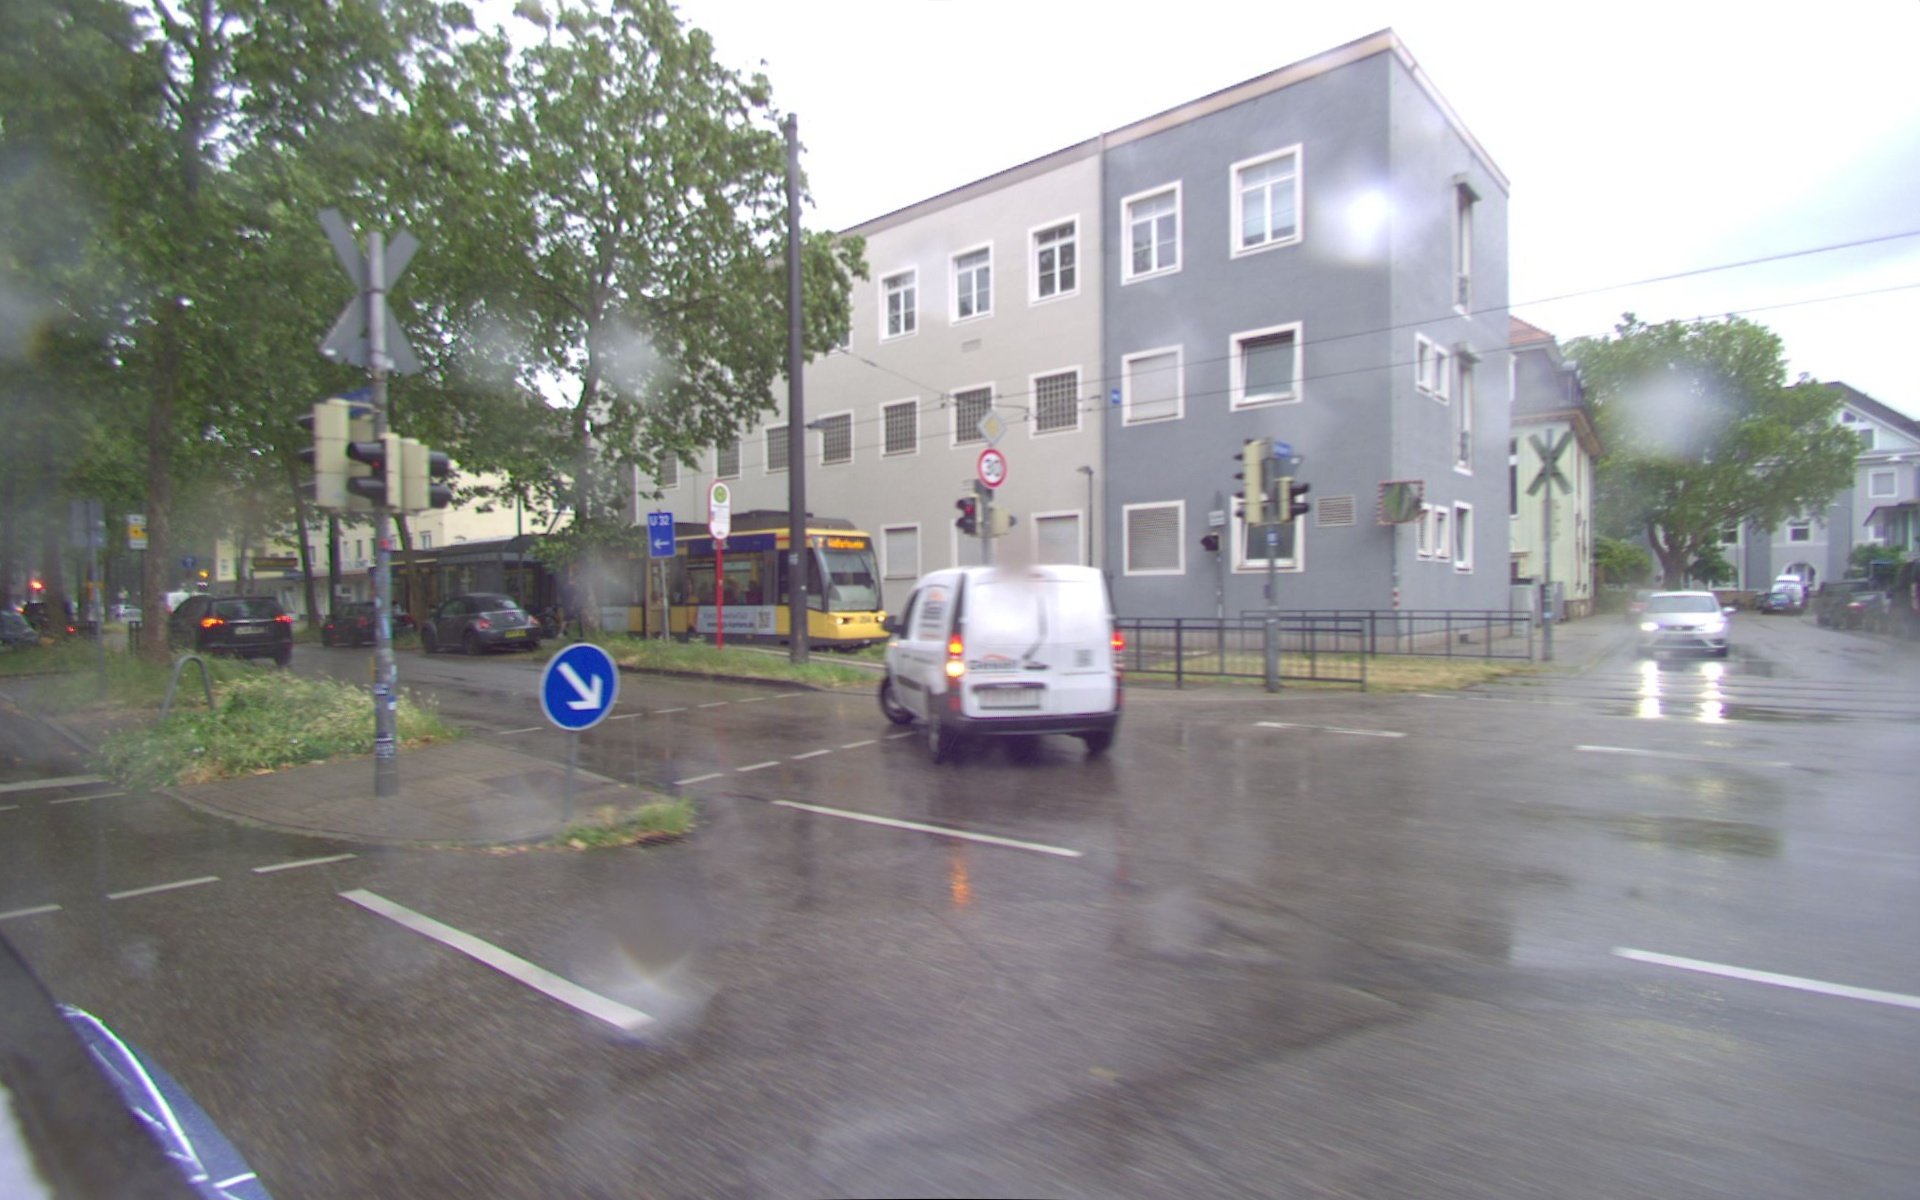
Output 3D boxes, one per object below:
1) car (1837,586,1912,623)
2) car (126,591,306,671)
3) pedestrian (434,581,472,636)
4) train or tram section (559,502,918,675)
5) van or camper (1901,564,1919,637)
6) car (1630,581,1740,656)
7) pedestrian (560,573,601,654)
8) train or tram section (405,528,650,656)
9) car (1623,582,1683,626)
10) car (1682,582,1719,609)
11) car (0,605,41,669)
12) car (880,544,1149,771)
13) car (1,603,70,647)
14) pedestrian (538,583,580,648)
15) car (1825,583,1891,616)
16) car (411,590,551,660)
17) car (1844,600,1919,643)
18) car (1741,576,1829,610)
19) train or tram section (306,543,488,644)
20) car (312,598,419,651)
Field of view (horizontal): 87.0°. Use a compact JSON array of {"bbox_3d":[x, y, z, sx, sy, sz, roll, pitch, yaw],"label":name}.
[{"bbox_3d":[34.673,0.144,38.473,1.999,1.321,3.945,-1,0,41],"label":"car"},{"bbox_3d":[-17.062,0.670,23.136,4.665,1.631,2.037,-1,0,37],"label":"car"},{"bbox_3d":[-16.931,0.287,33.809,0.946,1.797,0.819,-1,0,-11],"label":"pedestrian"},{"bbox_3d":[-6.267,-0.274,26.411,11.548,3.669,2.869,0,1,42],"label":"train or tram section"},{"bbox_3d":[28.768,-0.036,29.211,1.997,2.029,3.950,0,1,38],"label":"van or camper"},{"bbox_3d":[16.680,0.367,23.219,1.886,1.539,4.039,-1,0,38],"label":"car"},{"bbox_3d":[-8.905,0.303,23.722,0.635,1.869,0.654,-1,0,42],"label":"pedestrian"},{"bbox_3d":[-14.910,-0.267,34.109,11.548,3.669,2.869,0,1,42],"label":"train or tram section"},{"bbox_3d":[29.923,0.147,43.642,1.997,1.763,3.950,0,0,37],"label":"car"},{"bbox_3d":[43.772,-0.274,59.762,1.675,1.549,3.949,0,0,38],"label":"car"},{"bbox_3d":[-24.213,0.905,25.060,4.004,1.493,1.710,-1,0,41],"label":"car"},{"bbox_3d":[0.324,0.461,10.547,1.907,1.863,4.075,-1,0,-10],"label":"car"},{"bbox_3d":[-37.861,0.994,41.427,3.647,1.675,1.655,-1,0,41],"label":"car"},{"bbox_3d":[-11.382,0.436,28.738,0.946,1.797,0.819,-1,0,-11],"label":"pedestrian"},{"bbox_3d":[38.089,-0.013,43.000,1.999,1.321,3.945,-1,0,41],"label":"car"},{"bbox_3d":[-12.197,0.597,25.666,3.972,1.520,1.655,-1,4,41],"label":"car"},{"bbox_3d":[31.351,0.693,34.152,1.997,1.321,3.949,-1,0,37],"label":"car"},{"bbox_3d":[51.214,-0.412,62.849,1.970,2.029,4.003,-1,0,-44],"label":"car"},{"bbox_3d":[-23.513,-0.261,41.811,11.548,3.669,2.869,0,1,42],"label":"train or tram section"},{"bbox_3d":[-18.243,0.727,31.013,3.703,1.395,1.655,-1,4,41],"label":"car"}]
